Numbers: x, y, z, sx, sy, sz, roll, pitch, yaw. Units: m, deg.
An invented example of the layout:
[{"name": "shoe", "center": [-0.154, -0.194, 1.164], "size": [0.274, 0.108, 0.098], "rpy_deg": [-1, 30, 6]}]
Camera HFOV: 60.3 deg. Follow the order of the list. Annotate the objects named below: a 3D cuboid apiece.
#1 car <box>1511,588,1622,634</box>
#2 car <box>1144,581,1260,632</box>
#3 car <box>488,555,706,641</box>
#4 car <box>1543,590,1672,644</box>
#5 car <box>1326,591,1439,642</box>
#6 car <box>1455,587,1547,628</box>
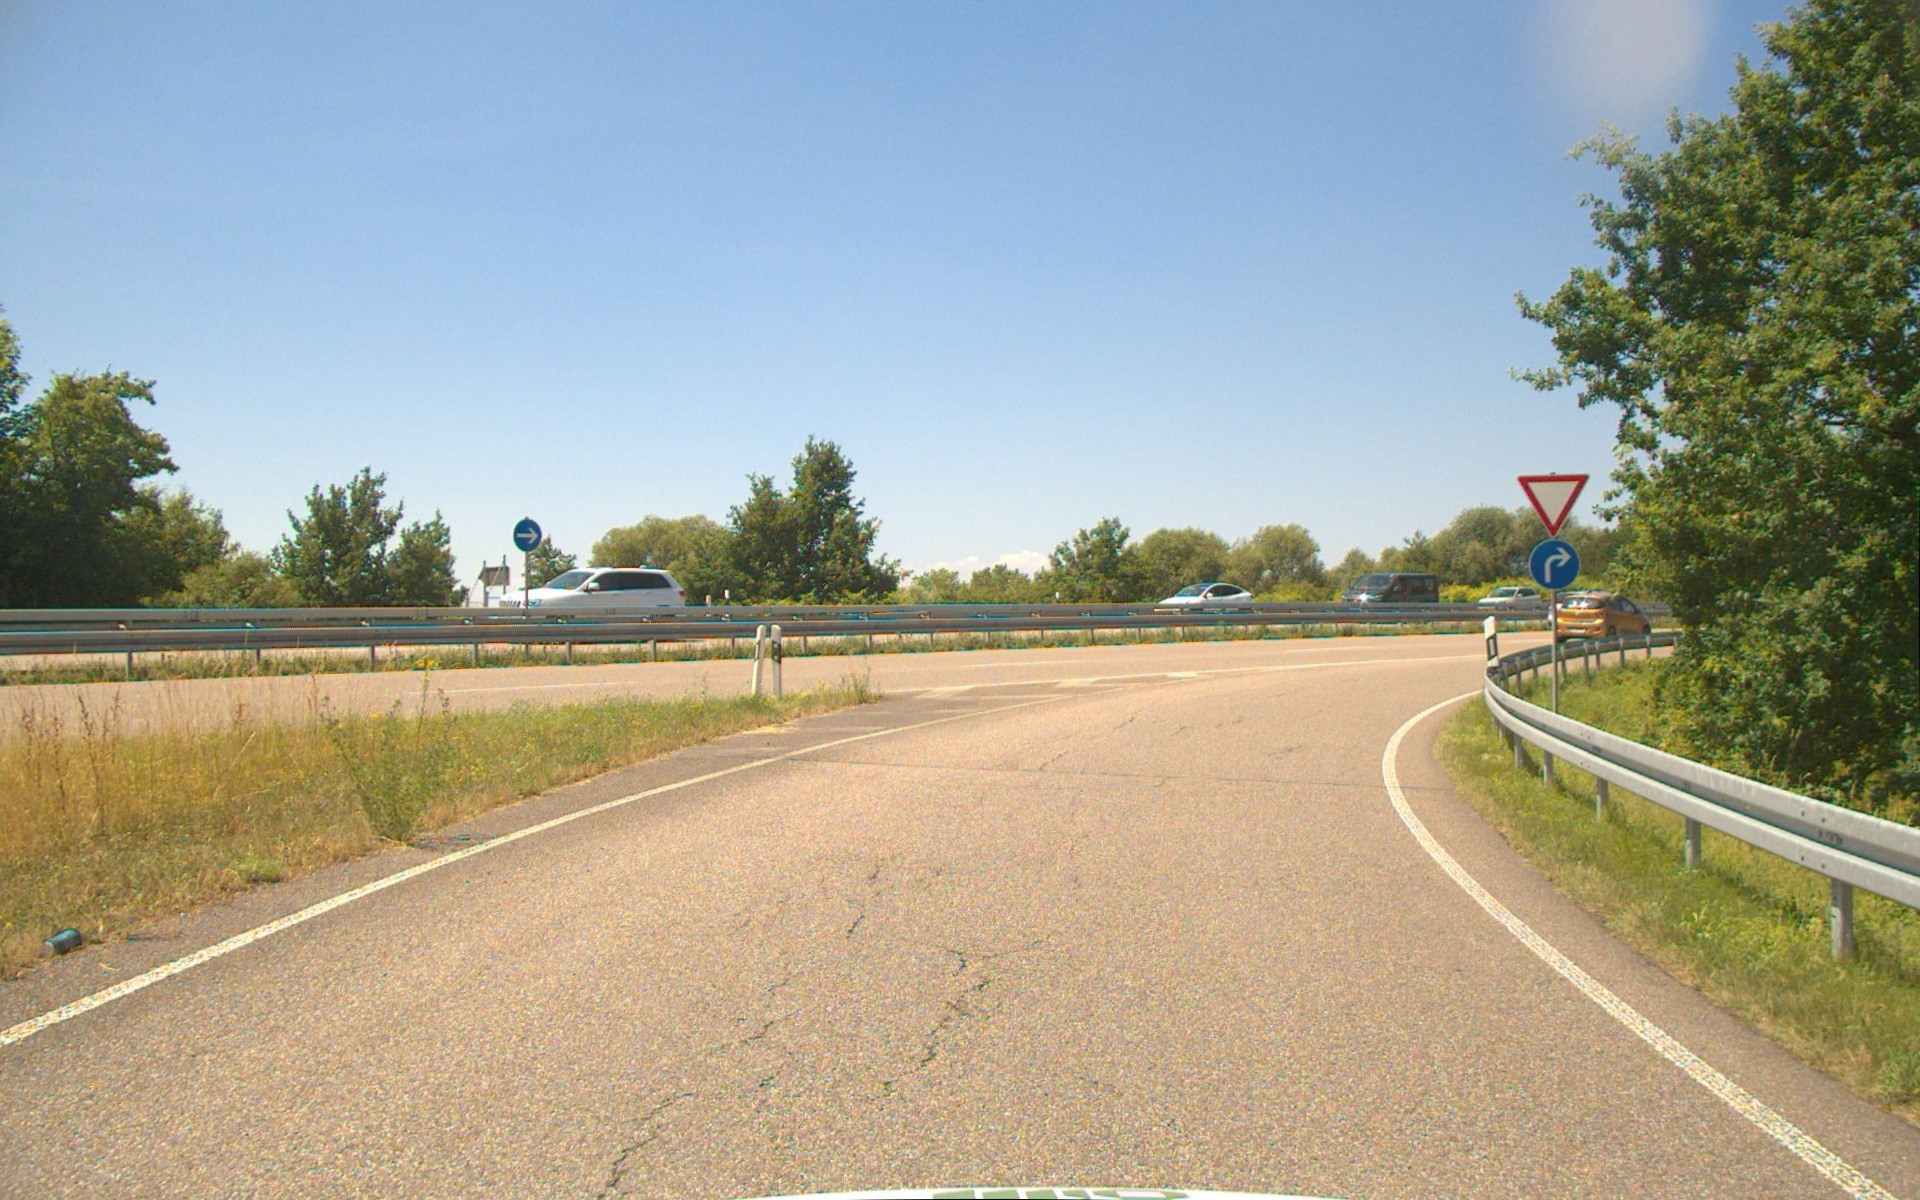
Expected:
[{"name": "car", "center": [20.819, 0.371, 56.753], "size": [3.961, 1.476, 1.821], "rpy_deg": [0, 1, -39]}, {"name": "car", "center": [9.828, 0.291, 67.011], "size": [4.864, 1.926, 1.913], "rpy_deg": [2, -1, -40]}, {"name": "car", "center": [-8.644, -0.008, 39.756], "size": [1.965, 1.926, 4.881], "rpy_deg": [0, -1, 42]}, {"name": "car", "center": [19.059, 0.475, 48.643], "size": [3.961, 1.489, 1.821], "rpy_deg": [0, 1, -39]}, {"name": "car", "center": [16.916, 0.666, 66.112], "size": [4.873, 1.926, 2.176], "rpy_deg": [2, -1, -44]}, {"name": "car", "center": [26.741, 0.378, 81.688], "size": [4.867, 1.926, 2.178], "rpy_deg": [2, -1, -41]}]
